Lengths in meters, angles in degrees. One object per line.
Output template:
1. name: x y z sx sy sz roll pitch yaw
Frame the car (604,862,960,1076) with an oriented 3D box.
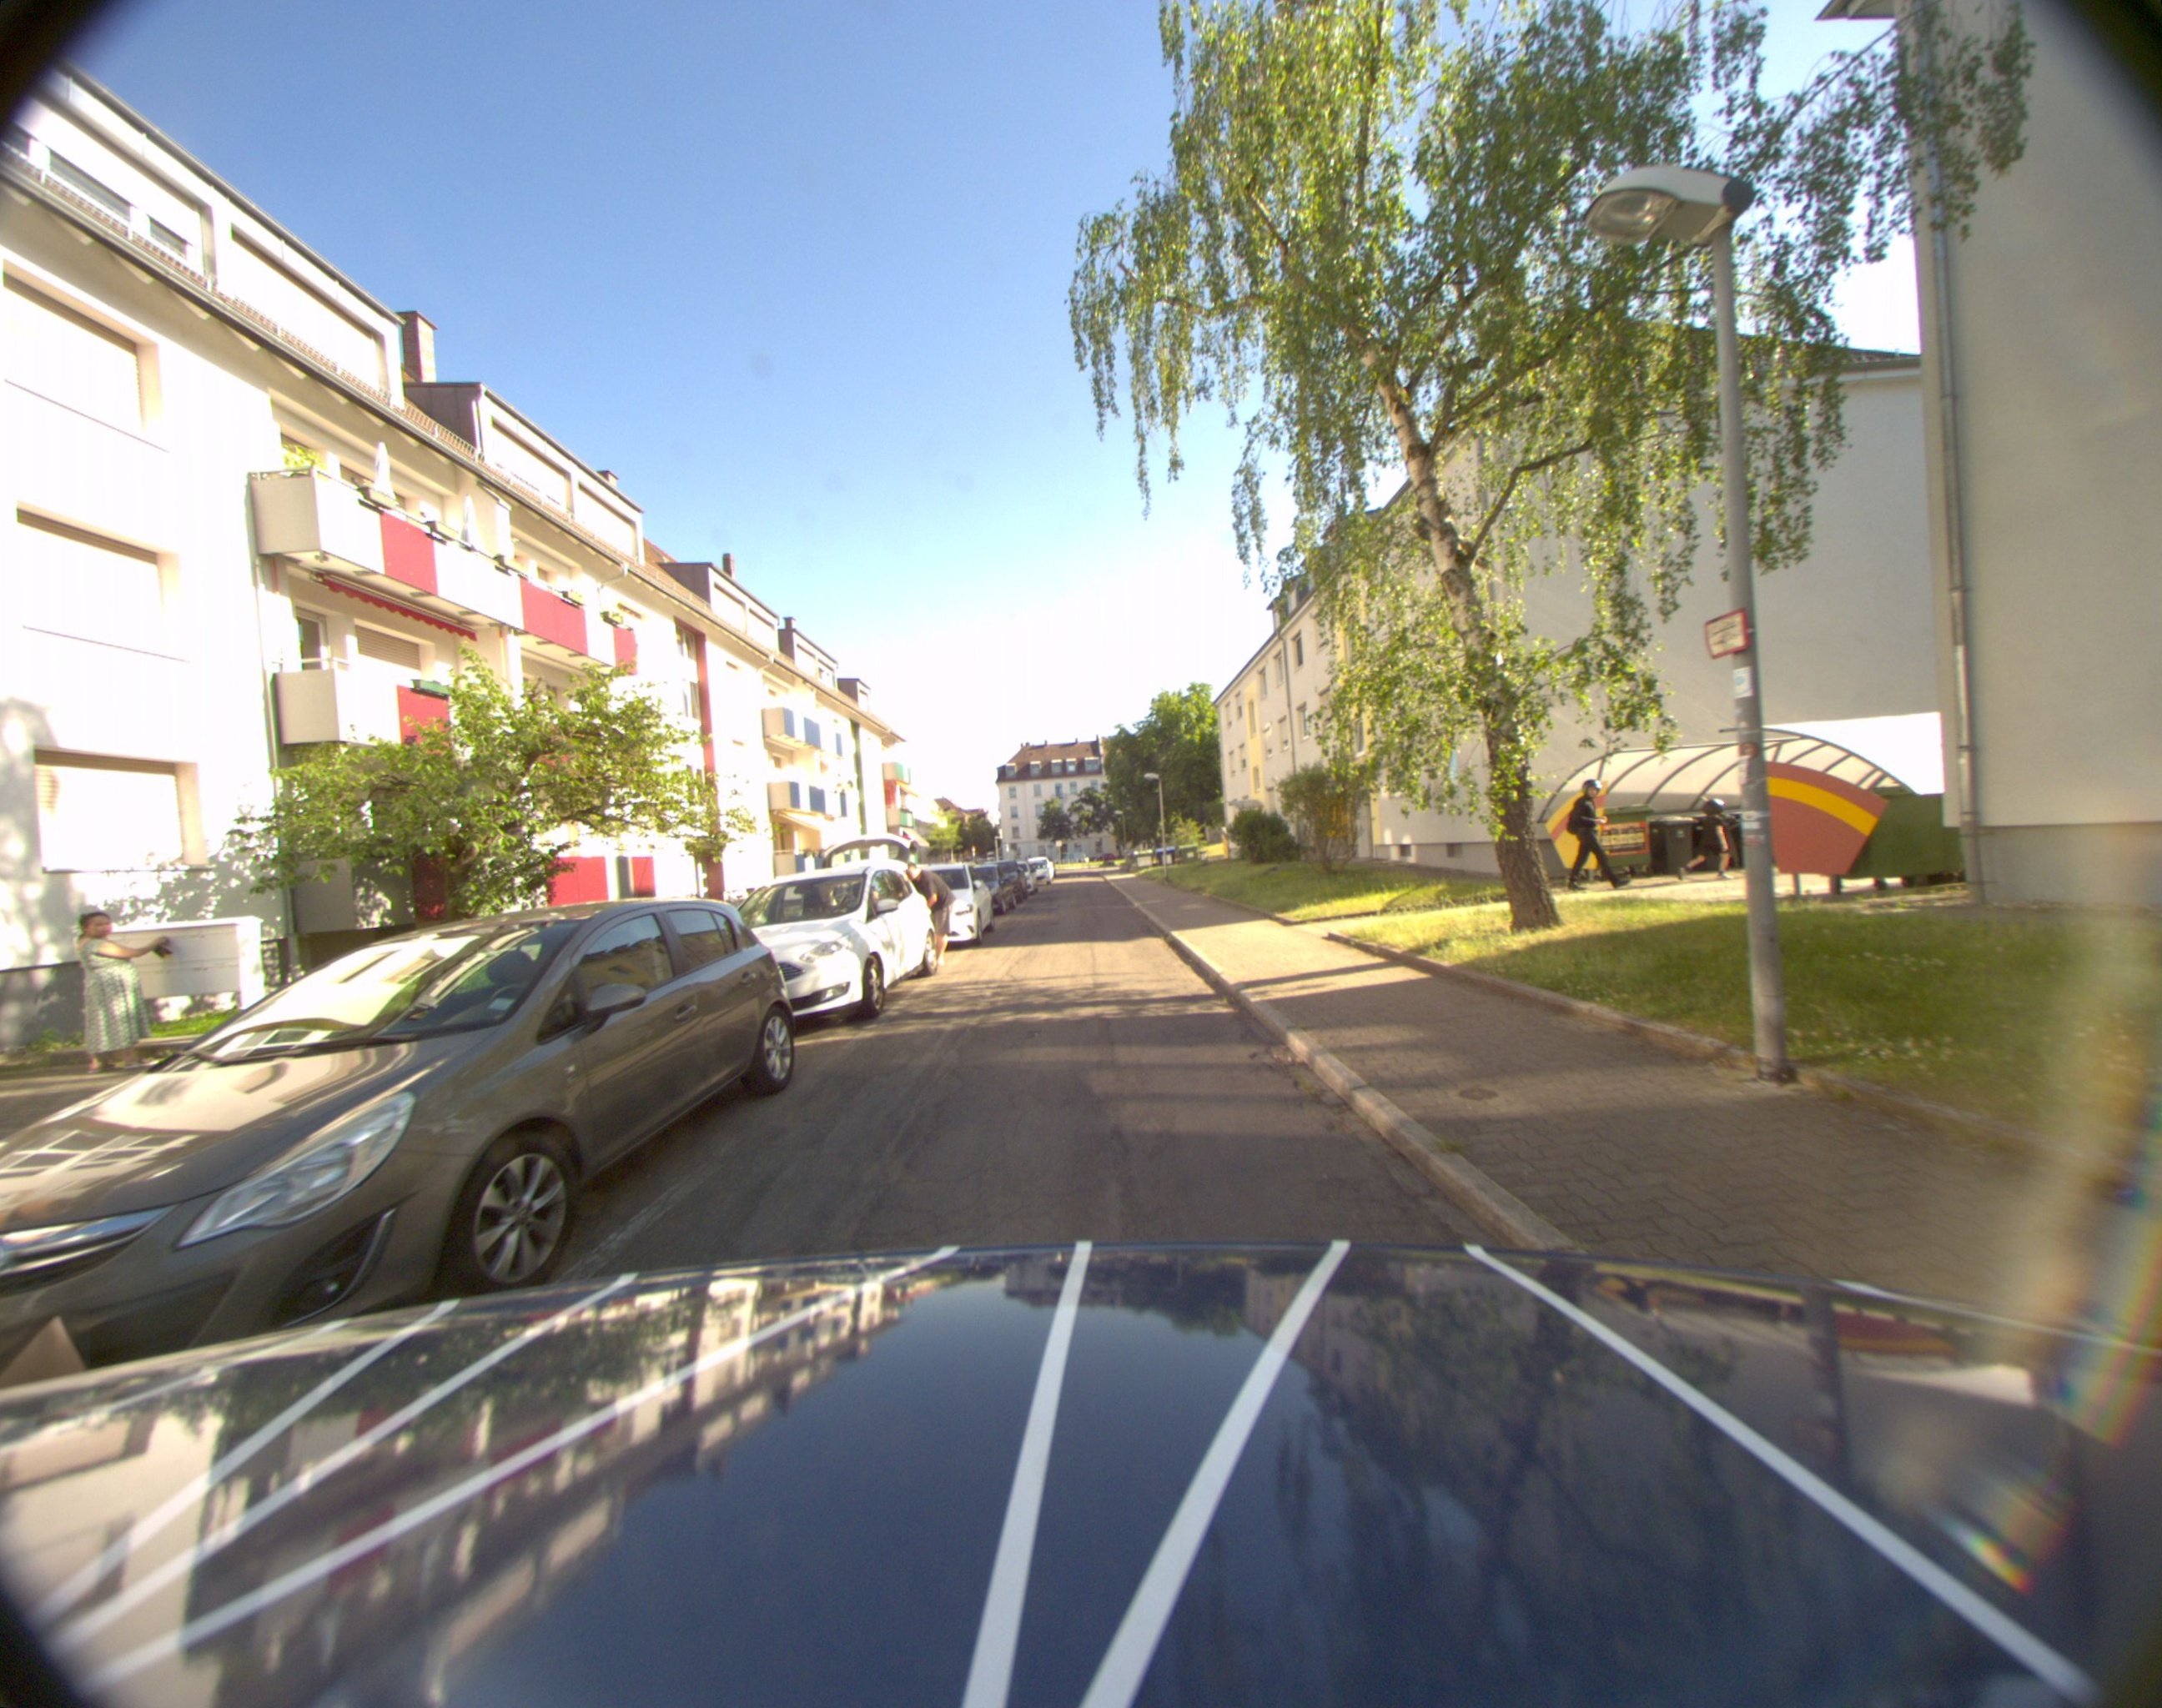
1. car: -3.013 1.033 9.134 1.998 1.603 4.995 -6 0 2

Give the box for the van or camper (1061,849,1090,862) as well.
1. van or camper: -0.830 0.245 117.679 4.355 1.852 1.999 -3 1 -2

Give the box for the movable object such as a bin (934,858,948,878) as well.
1. movable object such as a bin: -10.929 1.087 59.461 0.866 1.439 0.922 -3 1 -4

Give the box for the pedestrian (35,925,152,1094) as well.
1. pedestrian: -9.219 1.443 7.107 0.451 1.487 0.360 -4 3 1

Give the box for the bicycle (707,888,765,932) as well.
1. bicycle: -9.677 1.535 21.394 0.521 1.043 2.288 -2 0 1

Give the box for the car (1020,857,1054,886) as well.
1. car: -2.585 1.024 45.377 1.695 1.410 4.097 -6 0 -1

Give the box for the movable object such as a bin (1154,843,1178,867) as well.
1. movable object such as a bin: 5.797 0.082 52.109 1.358 1.451 1.082 -8 1 0

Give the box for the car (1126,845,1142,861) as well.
1. car: 5.910 -0.106 85.086 1.678 1.645 3.305 -3 1 4

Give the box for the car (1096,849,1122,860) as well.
1. car: 4.339 0.012 117.347 3.996 1.477 1.722 -3 1 2

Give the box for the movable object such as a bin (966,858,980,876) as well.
1. movable object such as a bin: -8.428 1.011 59.412 0.921 1.390 0.866 -4 1 -2

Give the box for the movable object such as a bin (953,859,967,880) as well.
1. movable object such as a bin: -8.864 1.140 55.533 0.866 1.439 0.922 -3 1 -4

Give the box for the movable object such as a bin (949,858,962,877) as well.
1. movable object such as a bin: -9.818 1.064 59.612 0.866 1.439 0.922 -3 1 -4

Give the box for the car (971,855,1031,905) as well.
1. car: -2.861 0.891 28.003 1.728 1.569 4.352 -3 0 -1

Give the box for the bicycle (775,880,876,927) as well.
1. bicycle: -7.018 1.353 20.950 2.429 1.123 0.879 -3 1 6

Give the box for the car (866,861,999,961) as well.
1. car: -2.754 0.983 15.135 1.777 1.496 4.479 -5 0 -2

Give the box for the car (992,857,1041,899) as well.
1. car: -2.771 0.995 33.307 1.717 1.501 3.853 -7 1 -1

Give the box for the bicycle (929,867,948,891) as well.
1. bicycle: -7.262 1.250 38.804 0.579 1.126 1.872 -2 0 -1

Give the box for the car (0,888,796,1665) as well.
1. car: -3.009 1.082 3.627 1.698 1.482 3.983 -6 0 -1

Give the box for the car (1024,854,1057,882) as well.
1. car: -2.652 0.904 50.688 1.805 1.583 4.581 -6 0 -1

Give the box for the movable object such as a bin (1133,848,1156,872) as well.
1. movable object such as a bin: 4.334 0.407 52.046 1.318 1.451 1.198 -8 1 0

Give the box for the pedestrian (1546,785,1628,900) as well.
1. pedestrian: 8.392 -0.188 12.633 0.808 1.813 0.718 -4 1 1

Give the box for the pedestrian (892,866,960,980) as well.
1. pedestrian: -2.256 0.984 11.172 0.741 1.566 0.879 -3 1 0

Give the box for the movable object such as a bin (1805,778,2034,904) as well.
1. movable object such as a bin: 10.333 -0.148 9.445 1.391 1.328 1.228 -6 1 0

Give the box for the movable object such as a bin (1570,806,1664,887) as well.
1. movable object such as a bin: 9.969 -0.138 14.171 1.087 1.398 0.812 -5 1 1

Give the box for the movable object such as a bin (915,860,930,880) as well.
1. movable object such as a bin: -12.413 1.259 59.586 0.866 1.511 0.922 -3 1 -1

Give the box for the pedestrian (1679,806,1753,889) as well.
1. pedestrian: 10.460 -0.107 12.534 0.687 1.309 0.575 -4 1 1

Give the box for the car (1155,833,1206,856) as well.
1. car: 10.390 -0.960 79.402 4.992 2.002 2.000 -4 1 3

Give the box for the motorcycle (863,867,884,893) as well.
1. motorcycle: -10.663 1.319 39.049 0.442 1.231 1.976 -3 0 0

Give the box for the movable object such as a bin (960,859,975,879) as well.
1. movable object such as a bin: -8.470 1.097 56.943 0.921 1.439 0.866 -4 1 -2

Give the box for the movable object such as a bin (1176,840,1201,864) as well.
1. movable object such as a bin: 7.376 -0.135 52.130 1.363 1.445 1.072 -8 1 0

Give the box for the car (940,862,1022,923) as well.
1. car: -2.951 1.096 23.265 1.650 1.441 4.061 -6 0 3

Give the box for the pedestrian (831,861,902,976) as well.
1. pedestrian: -3.273 0.967 11.628 0.821 1.677 0.604 -3 1 0

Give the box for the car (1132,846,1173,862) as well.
1. car: 7.686 -0.027 82.004 4.140 1.488 1.729 -3 1 0

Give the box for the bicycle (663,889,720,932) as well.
1. bicycle: -10.994 1.579 21.526 0.521 1.031 1.975 -3 0 1
